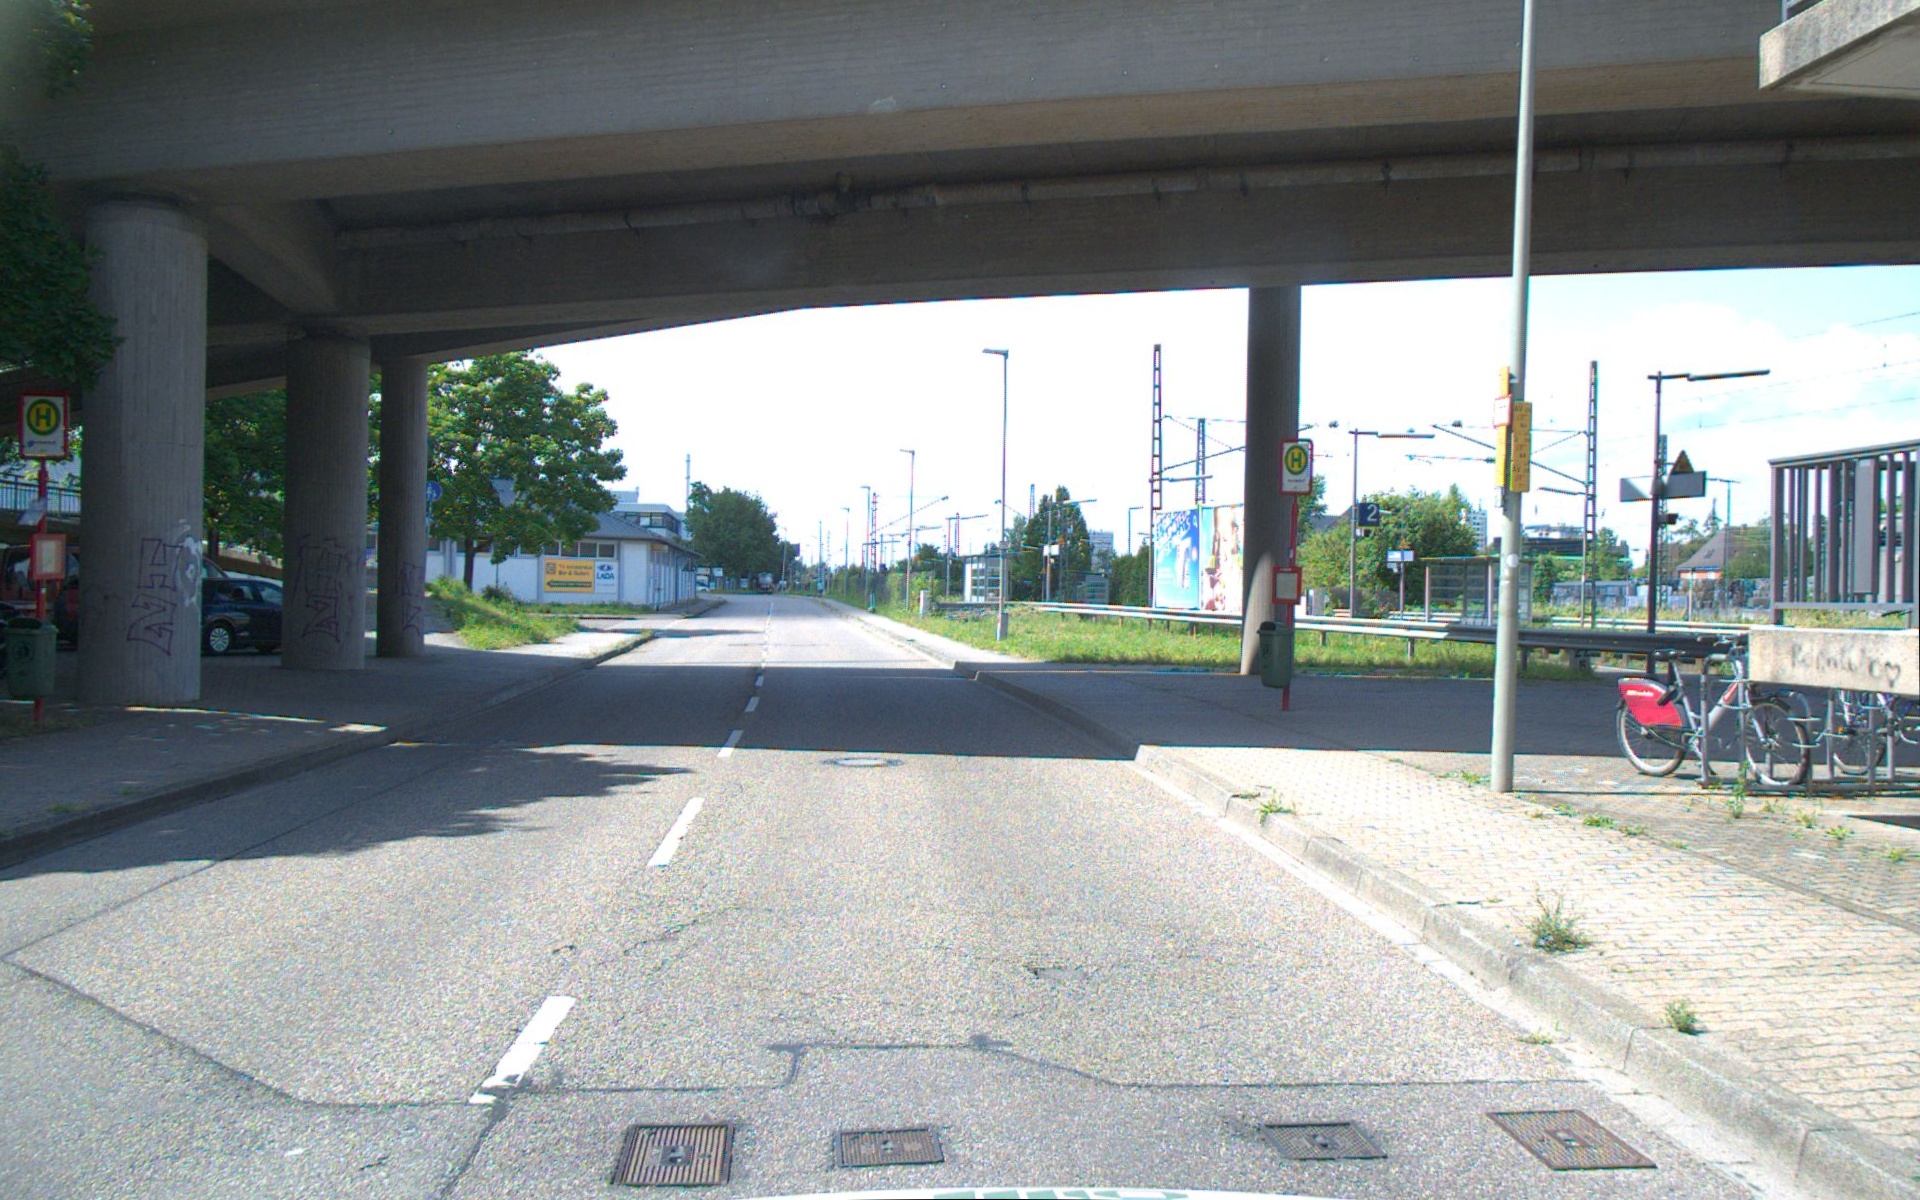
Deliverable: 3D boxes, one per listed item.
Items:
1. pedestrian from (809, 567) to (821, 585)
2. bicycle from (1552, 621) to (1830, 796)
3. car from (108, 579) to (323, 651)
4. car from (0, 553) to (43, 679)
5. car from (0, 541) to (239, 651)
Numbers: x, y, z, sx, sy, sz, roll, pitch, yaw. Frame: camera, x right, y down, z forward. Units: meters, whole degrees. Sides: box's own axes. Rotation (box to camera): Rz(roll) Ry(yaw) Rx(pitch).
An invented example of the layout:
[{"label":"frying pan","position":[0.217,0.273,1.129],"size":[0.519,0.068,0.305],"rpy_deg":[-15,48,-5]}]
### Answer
[{"label":"pedestrian","position":[-17.278,-2.863,196.658],"size":[0.837,2.048,1.053],"rpy_deg":[3,1,43]},{"label":"bicycle","position":[5.296,0.740,12.165],"size":[0.632,1.127,2.182],"rpy_deg":[0,0,-15]},{"label":"car","position":[-14.189,0.267,31.670],"size":[1.656,1.307,3.443],"rpy_deg":[0,0,31]},{"label":"car","position":[-13.929,0.205,20.462],"size":[1.644,1.658,4.575],"rpy_deg":[0,0,20]},{"label":"car","position":[-16.712,-0.079,32.921],"size":[1.905,2.049,3.949],"rpy_deg":[0,0,31]}]
